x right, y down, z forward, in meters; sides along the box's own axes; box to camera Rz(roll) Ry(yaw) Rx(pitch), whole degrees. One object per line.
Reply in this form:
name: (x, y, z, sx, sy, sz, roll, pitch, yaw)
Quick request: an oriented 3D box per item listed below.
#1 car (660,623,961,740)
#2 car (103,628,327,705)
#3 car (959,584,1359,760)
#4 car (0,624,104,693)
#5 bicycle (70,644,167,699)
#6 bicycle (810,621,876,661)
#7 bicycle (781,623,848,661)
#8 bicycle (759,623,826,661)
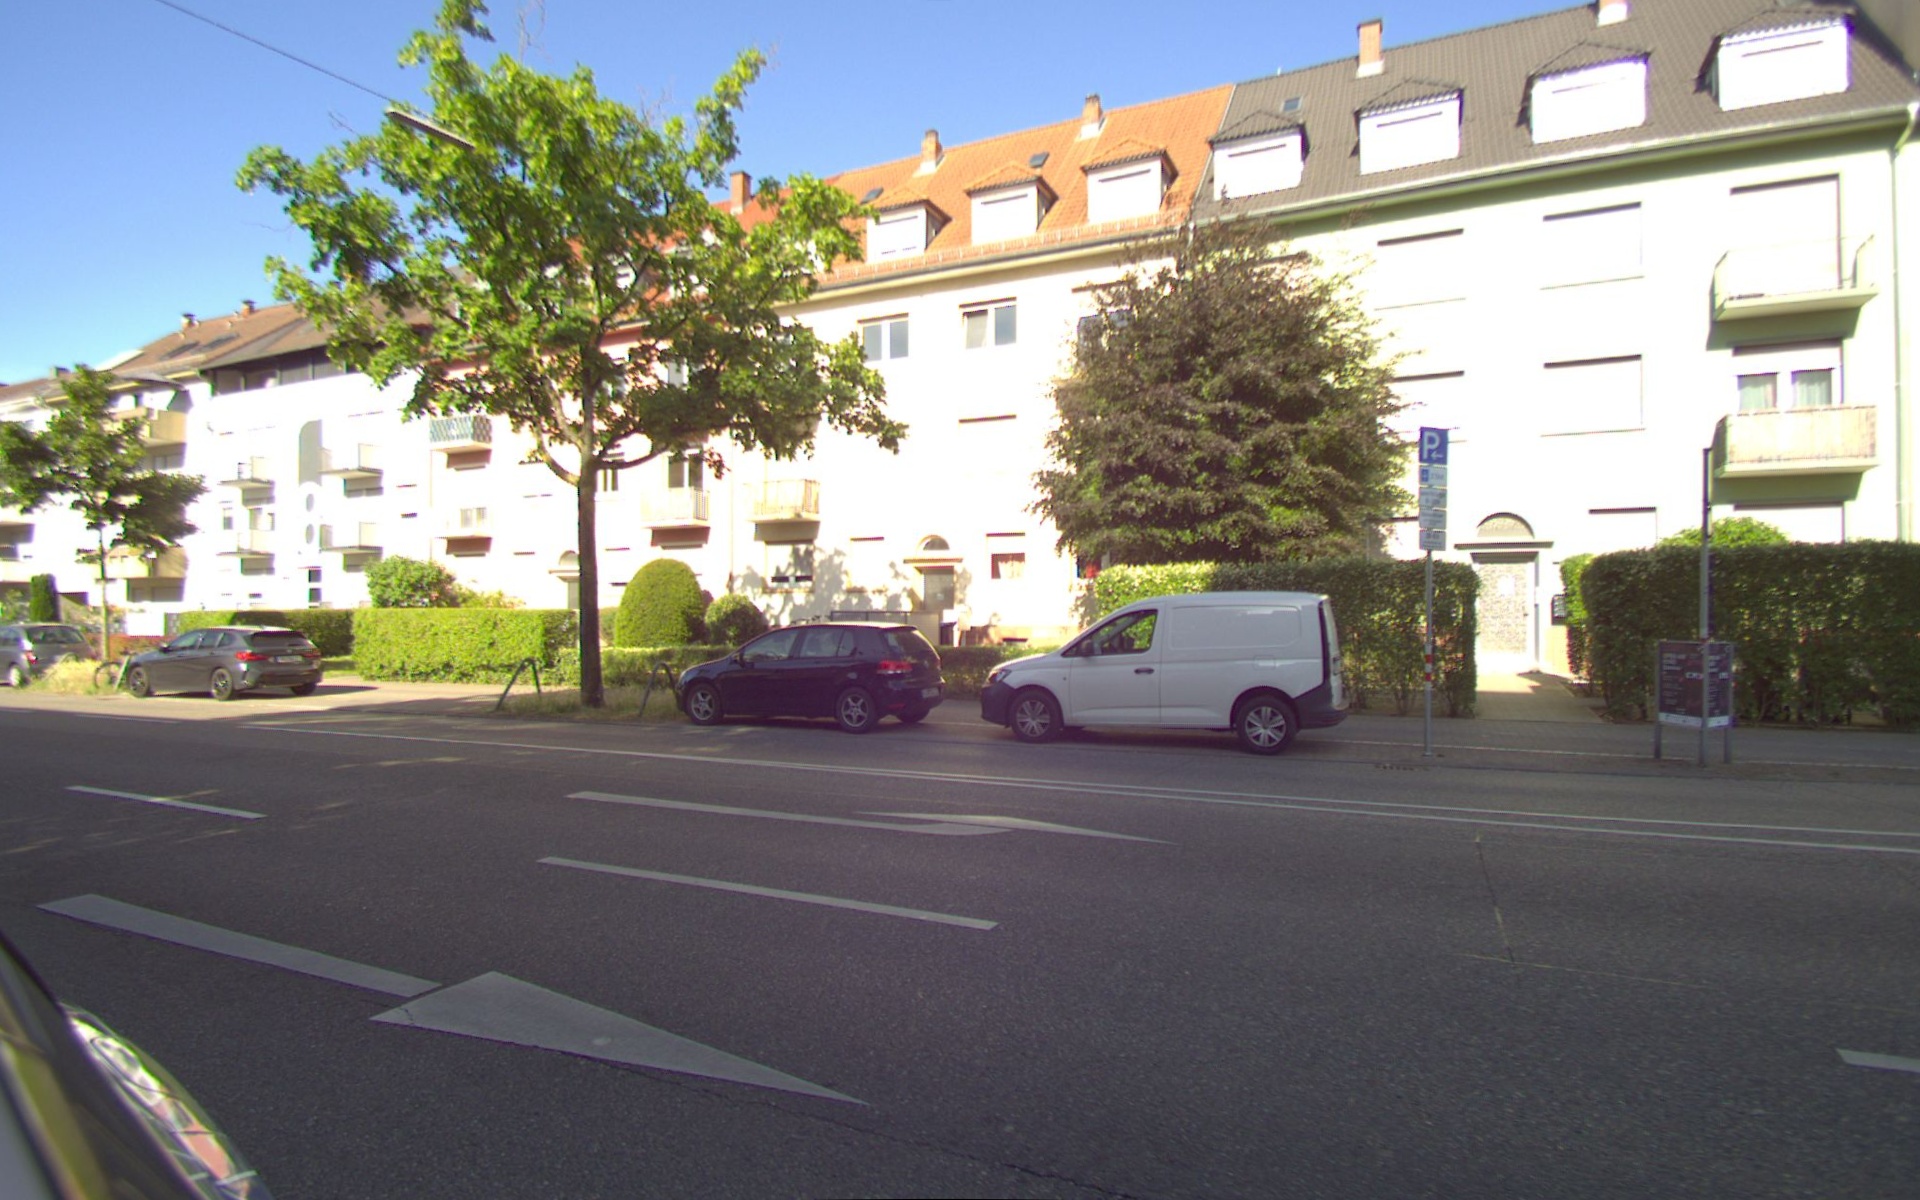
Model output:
car: (-2.181, 1.089, 14.537, 4.089, 1.468, 1.661, -1, -2, 27)
car: (-15.360, 1.335, 20.857, 4.337, 1.419, 1.760, -2, -1, 22)
car: (2.420, 0.811, 12.429, 4.534, 1.848, 1.810, -1, -1, 24)
car: (-23.132, 1.413, 24.903, 3.634, 1.537, 1.668, -2, 0, 22)
bicycle: (-18.498, 1.552, 22.282, 0.545, 1.143, 1.536, -2, -3, 24)
bicycle: (-2.933, 1.019, 25.586, 0.569, 0.950, 2.103, -1, -2, 28)
bicycle: (-3.719, 1.062, 26.023, 0.569, 0.936, 2.103, -1, -2, 28)
bicycle: (-4.334, 1.081, 26.379, 0.569, 0.937, 2.103, -1, -2, 28)
